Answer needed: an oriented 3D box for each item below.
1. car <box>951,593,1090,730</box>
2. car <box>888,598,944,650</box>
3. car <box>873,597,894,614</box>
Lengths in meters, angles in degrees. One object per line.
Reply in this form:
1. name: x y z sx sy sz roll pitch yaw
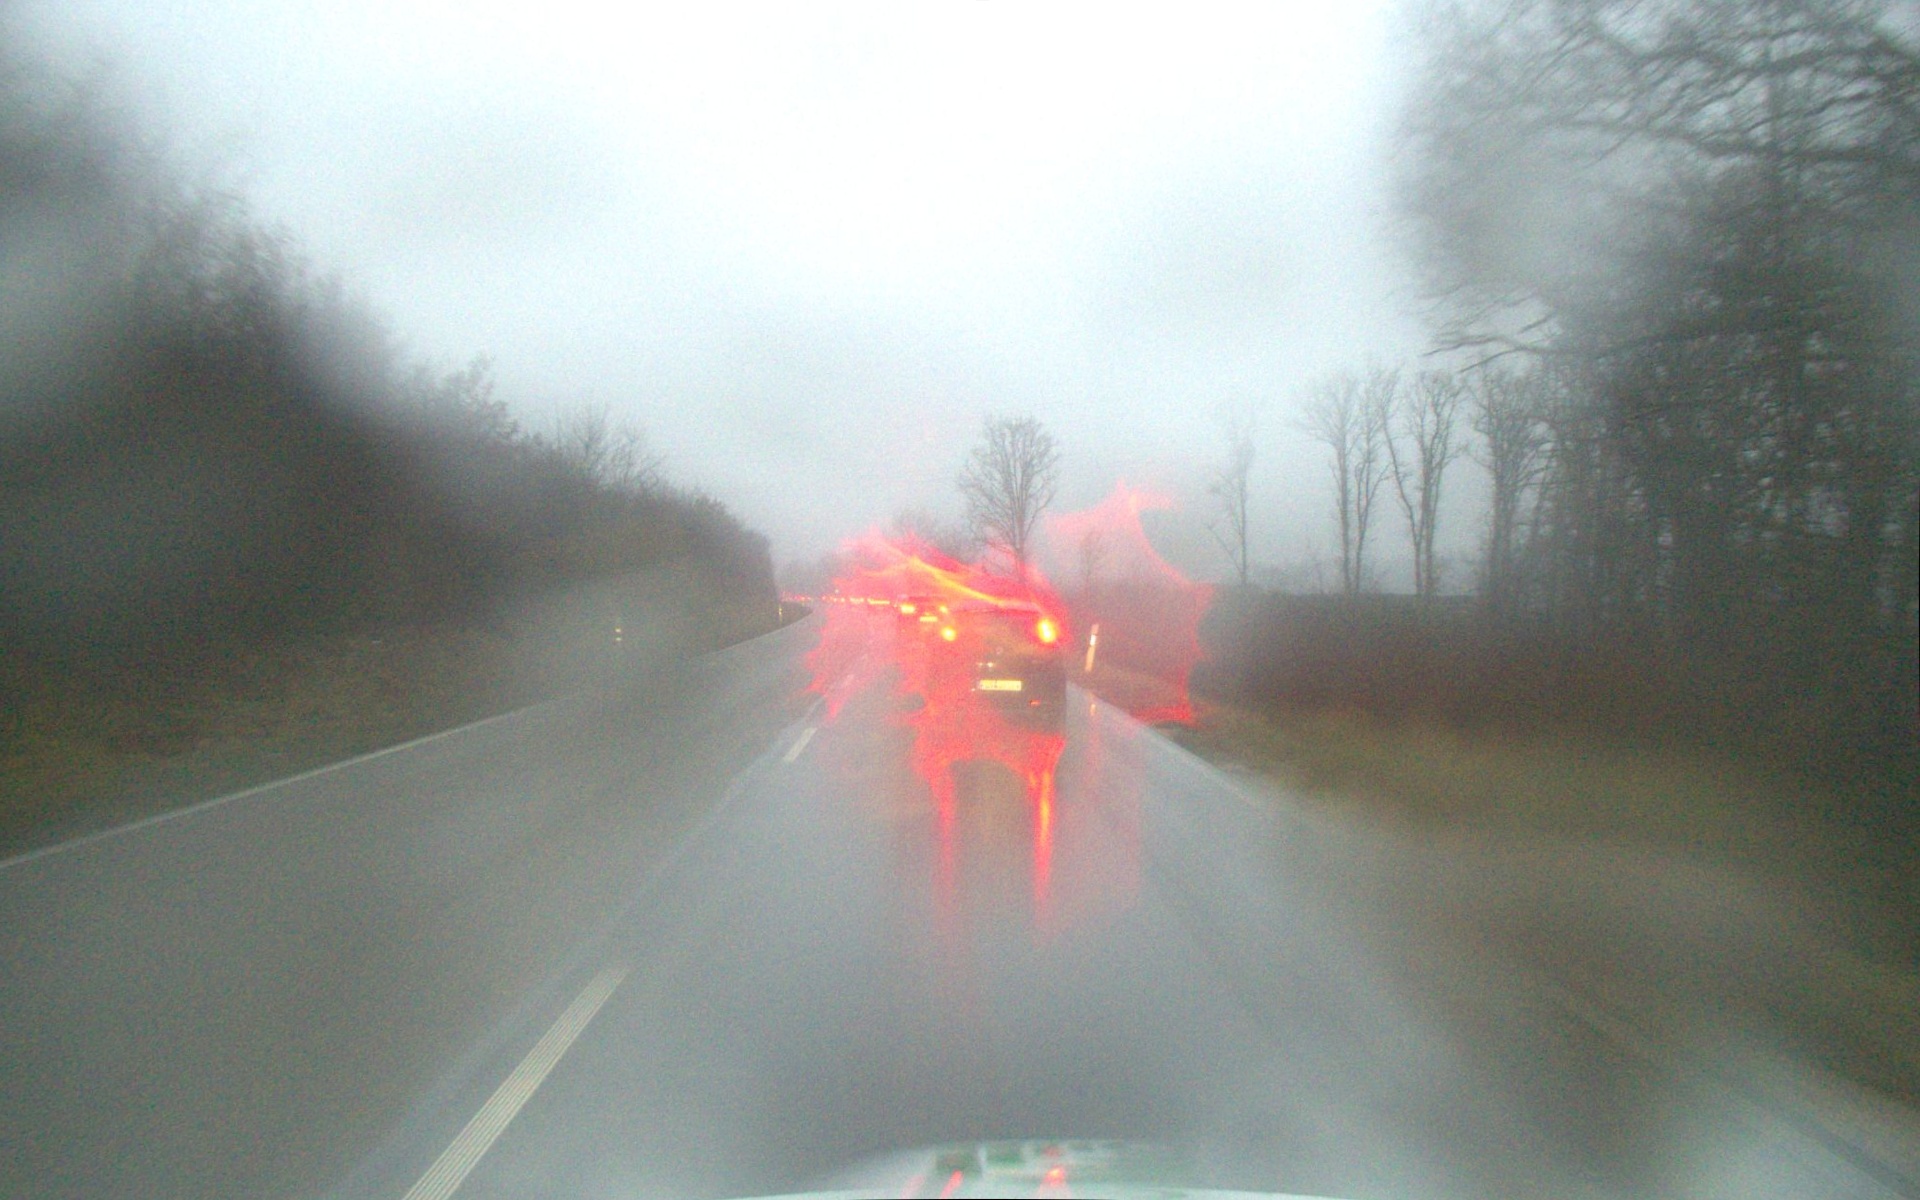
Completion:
1. car: 0.704 0.700 20.850 1.569 1.549 3.869 1 0 0
2. car: -1.252 0.665 47.634 1.515 1.421 3.868 1 0 -1
3. car: -6.364 0.448 137.903 1.515 1.421 3.870 1 0 2
